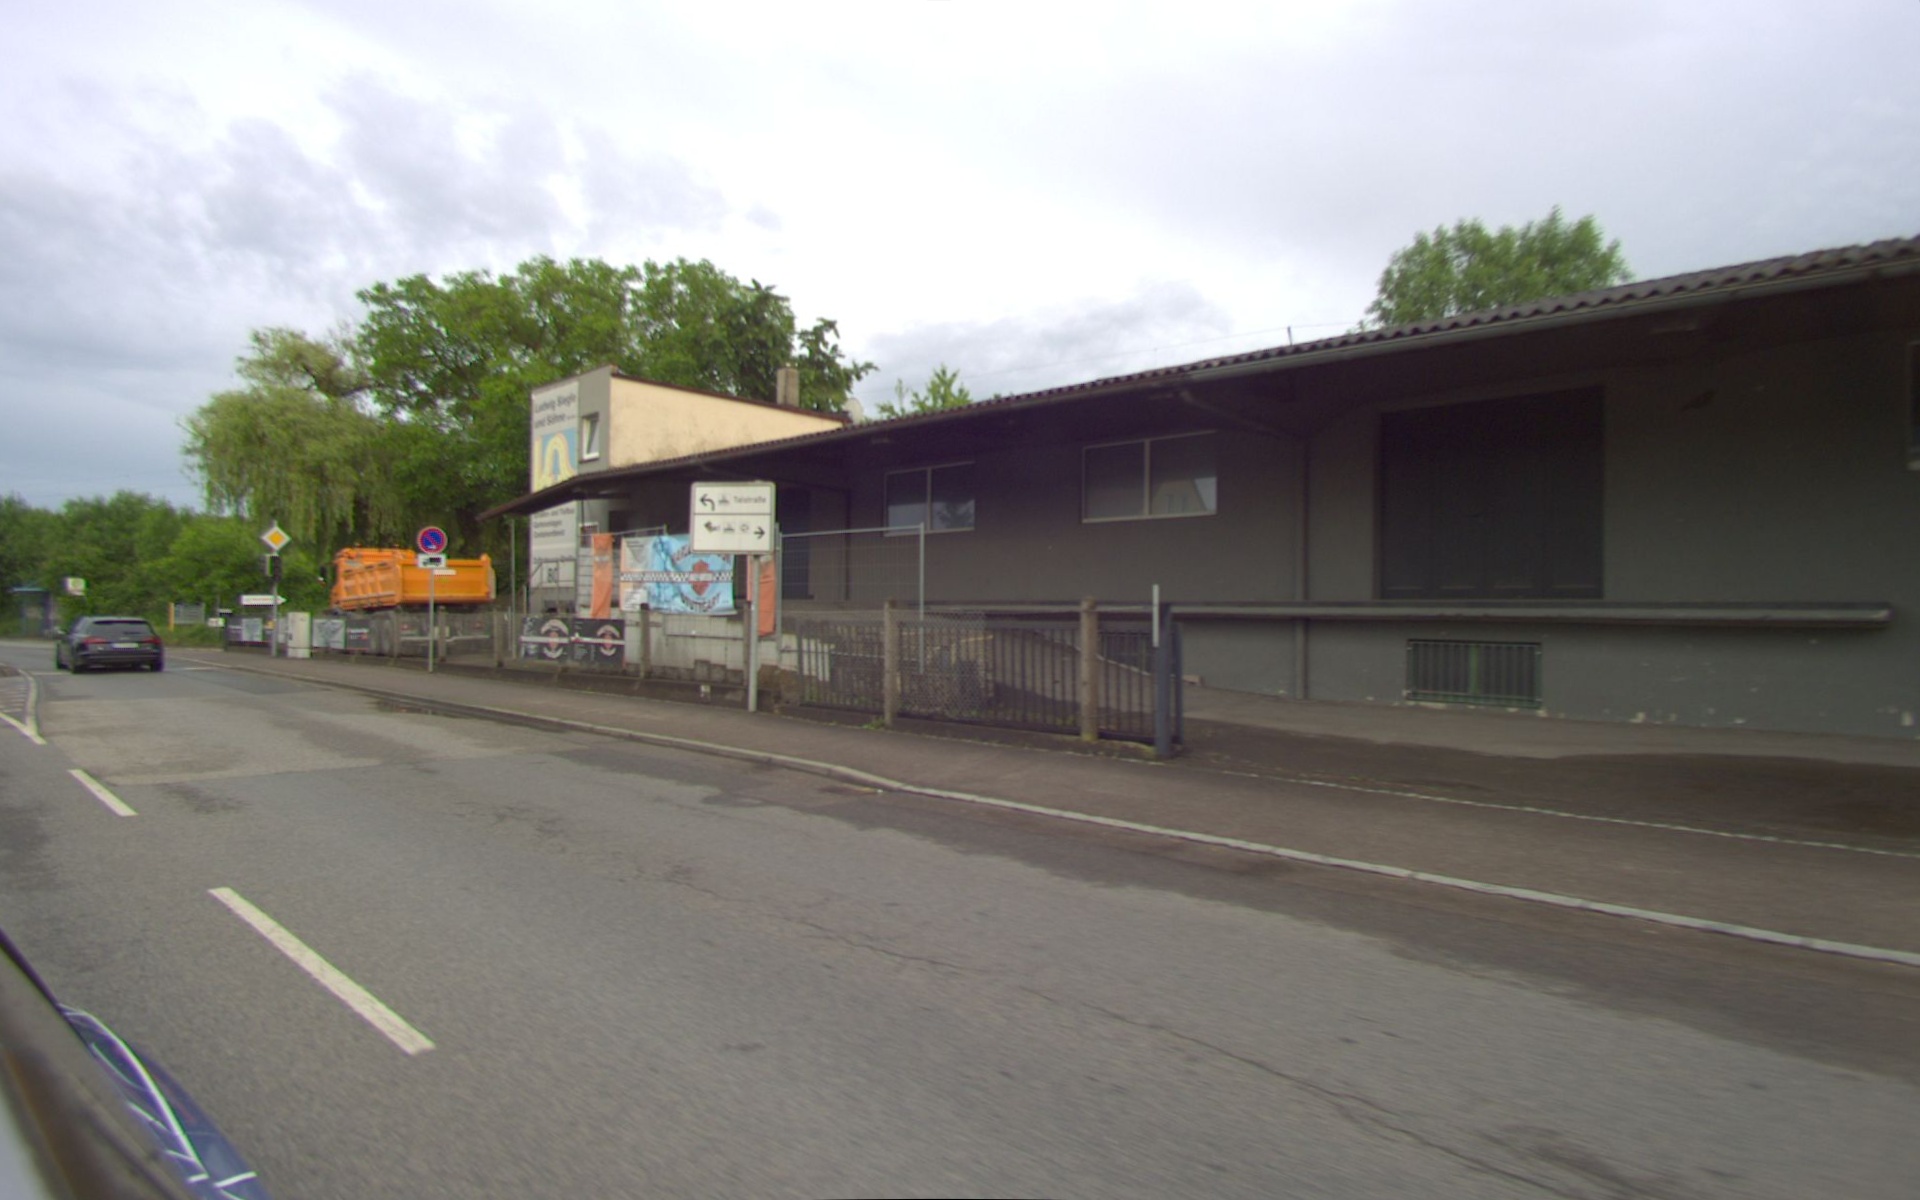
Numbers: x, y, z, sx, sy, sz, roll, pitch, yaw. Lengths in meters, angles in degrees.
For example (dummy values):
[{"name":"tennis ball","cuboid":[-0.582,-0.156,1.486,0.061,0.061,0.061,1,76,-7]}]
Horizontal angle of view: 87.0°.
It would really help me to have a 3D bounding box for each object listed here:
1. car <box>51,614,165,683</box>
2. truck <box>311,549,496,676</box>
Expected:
[{"name":"car","cuboid":[-22.797,1.222,27.024,4.542,1.462,1.724,2,3,42]},{"name":"truck","cuboid":[-17.560,0.189,31.566,2.666,3.437,9.079,-2,3,-44]}]
